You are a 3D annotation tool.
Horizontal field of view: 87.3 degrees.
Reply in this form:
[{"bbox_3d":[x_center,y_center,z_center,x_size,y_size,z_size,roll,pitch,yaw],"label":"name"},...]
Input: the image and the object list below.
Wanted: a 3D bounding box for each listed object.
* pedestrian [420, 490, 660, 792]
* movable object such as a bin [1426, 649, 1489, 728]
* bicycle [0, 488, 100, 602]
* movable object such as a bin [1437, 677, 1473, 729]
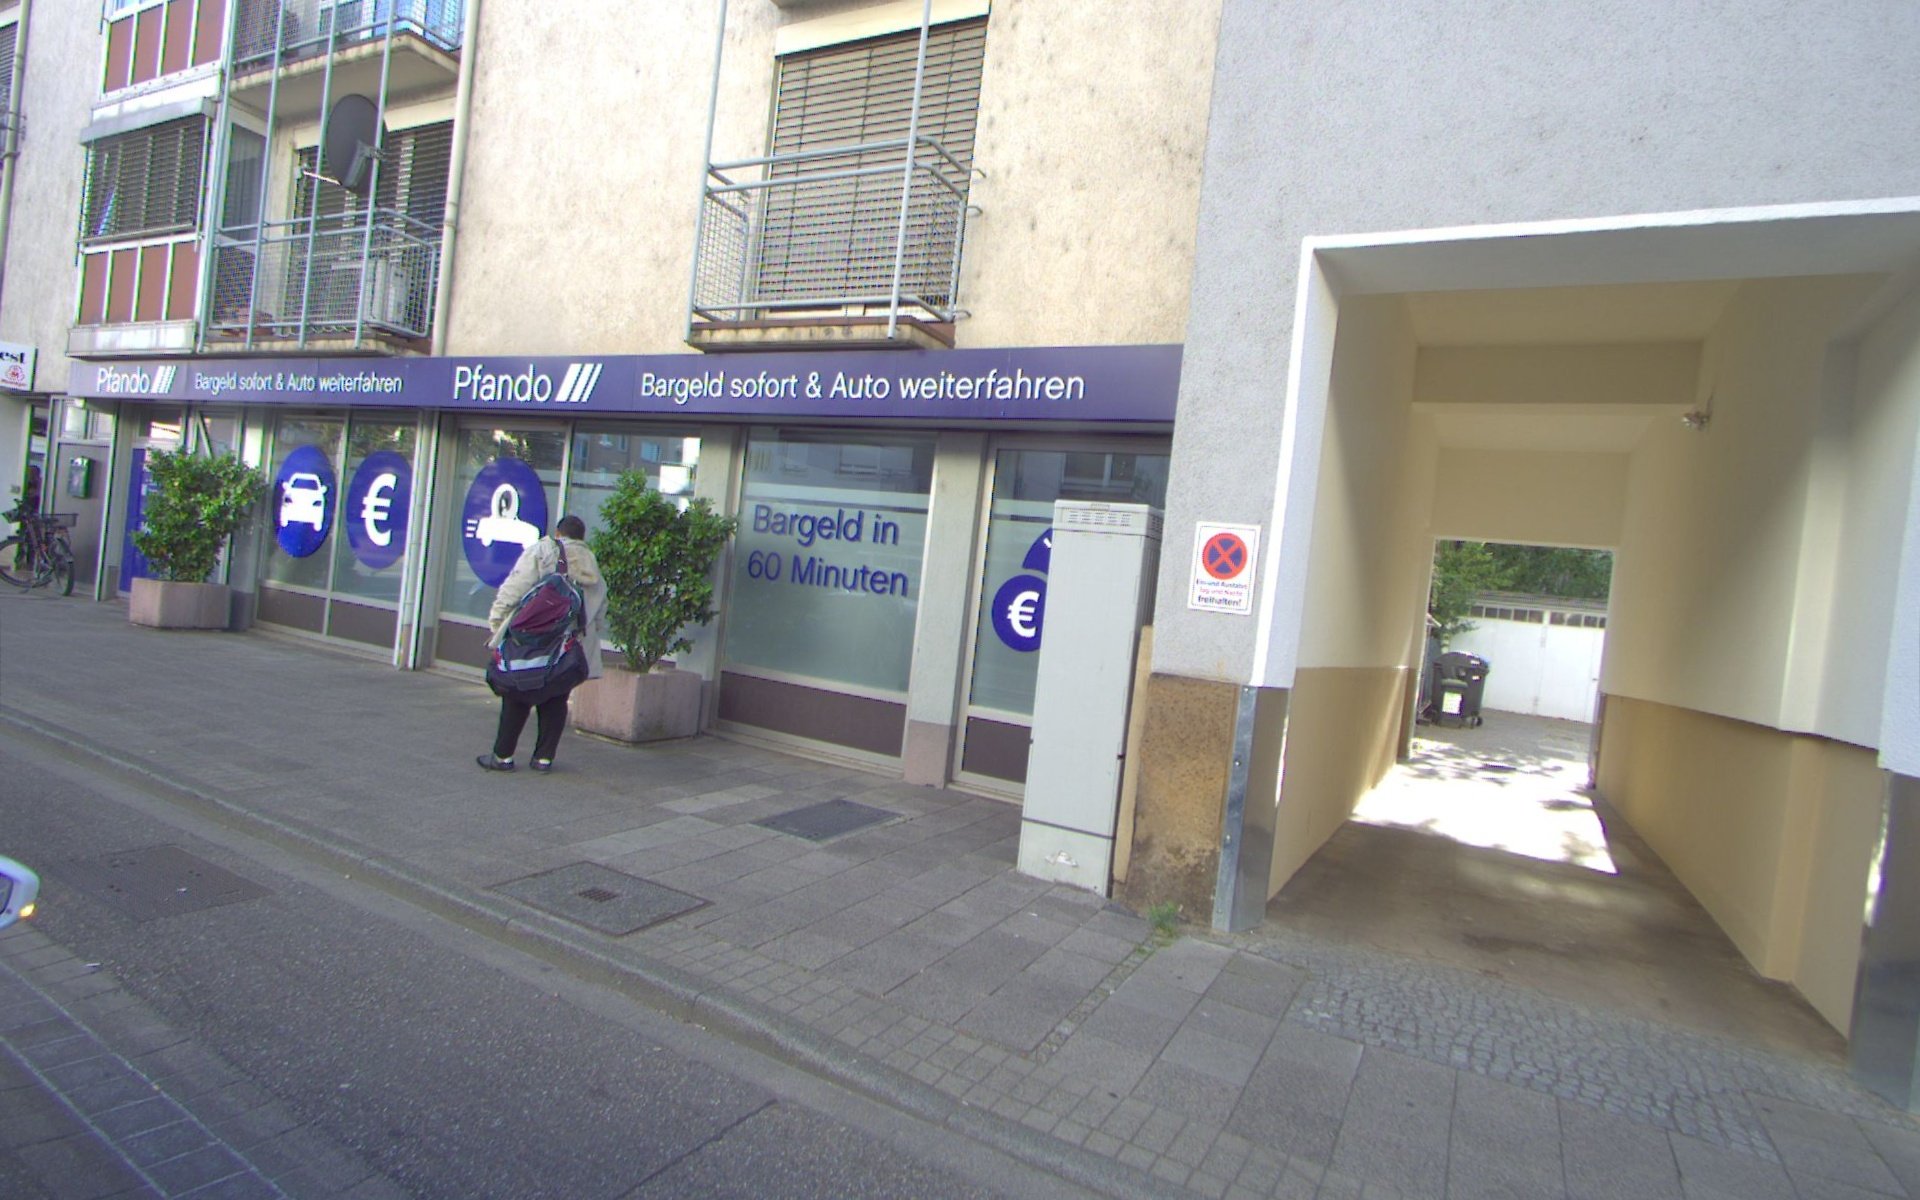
[{"bbox_3d":[-2.496,0.216,6.012,0.853,1.593,0.874,8,3,29],"label":"pedestrian"},{"bbox_3d":[10.124,1.784,20.449,0.945,1.426,1.598,7,1,29],"label":"movable object such as a bin"},{"bbox_3d":[-11.832,-0.730,12.871,1.879,1.280,0.640,7,1,32],"label":"bicycle"},{"bbox_3d":[9.572,1.977,19.446,0.518,0.922,0.580,7,1,29],"label":"movable object such as a bin"}]
